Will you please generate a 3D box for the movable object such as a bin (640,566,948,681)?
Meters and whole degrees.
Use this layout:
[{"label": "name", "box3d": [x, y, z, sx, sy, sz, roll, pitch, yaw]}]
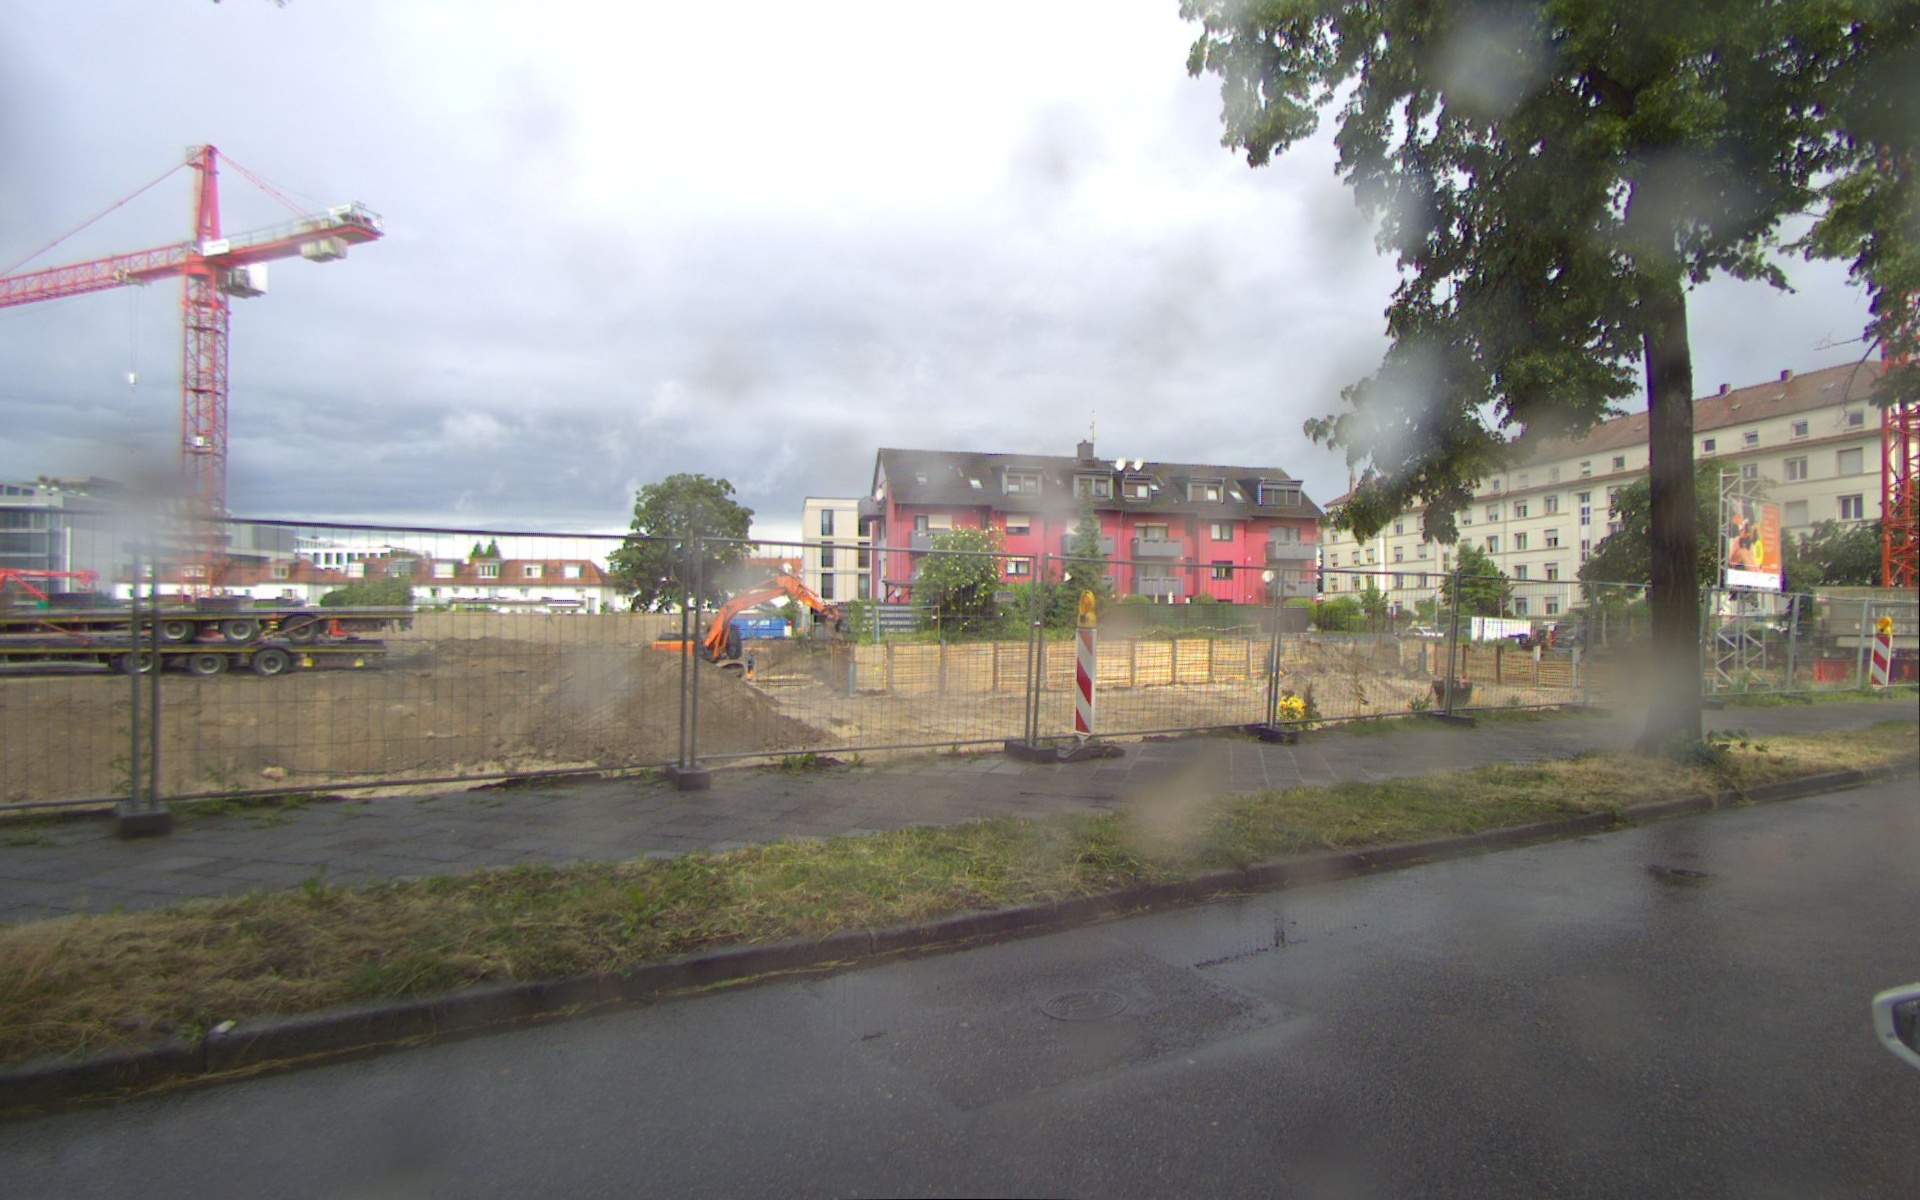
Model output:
[{"label": "movable object such as a bin", "box3d": [-9.182, 1.254, 57.686, 16.430, 6.125, 6.885, 0, 0, -6]}]
